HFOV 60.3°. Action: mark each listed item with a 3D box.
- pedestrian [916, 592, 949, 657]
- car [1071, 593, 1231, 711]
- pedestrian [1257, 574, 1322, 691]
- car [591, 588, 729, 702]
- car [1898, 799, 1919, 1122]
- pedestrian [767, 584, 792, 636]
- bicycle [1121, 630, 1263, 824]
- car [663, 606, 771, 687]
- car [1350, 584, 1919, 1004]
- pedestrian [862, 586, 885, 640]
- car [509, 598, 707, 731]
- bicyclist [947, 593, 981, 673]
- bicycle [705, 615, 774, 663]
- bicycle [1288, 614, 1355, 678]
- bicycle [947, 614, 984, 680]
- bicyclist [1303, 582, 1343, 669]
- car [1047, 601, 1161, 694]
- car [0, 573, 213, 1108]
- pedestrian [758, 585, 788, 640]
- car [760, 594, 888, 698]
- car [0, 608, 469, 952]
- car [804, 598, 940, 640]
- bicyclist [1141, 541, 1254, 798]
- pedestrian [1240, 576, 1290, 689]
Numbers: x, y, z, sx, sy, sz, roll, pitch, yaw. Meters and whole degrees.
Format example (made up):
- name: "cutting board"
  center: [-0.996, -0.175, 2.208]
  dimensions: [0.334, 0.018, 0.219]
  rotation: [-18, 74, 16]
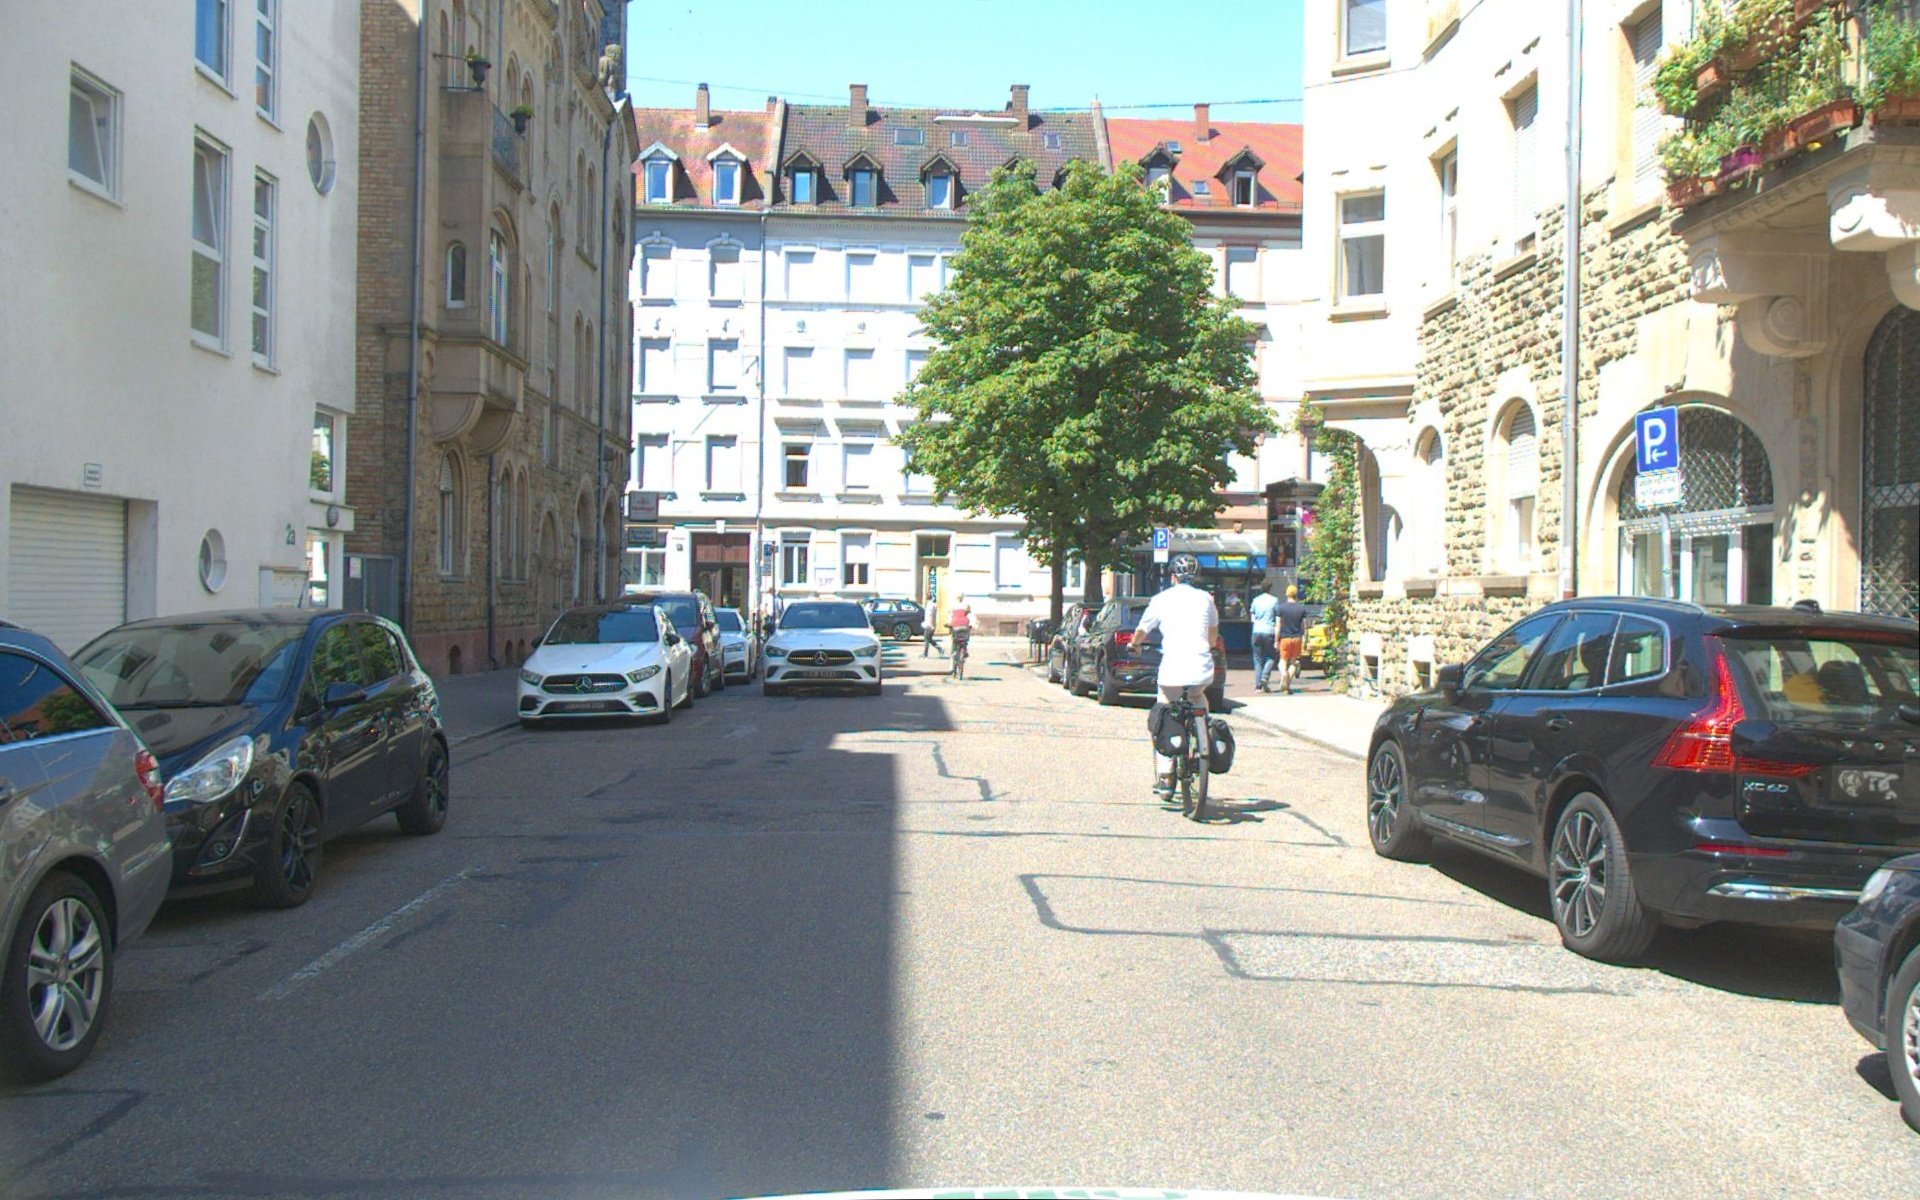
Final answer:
- name: "pedestrian"
  center: [-0.734, 0.633, 43.559]
  dimensions: [0.840, 1.701, 0.774]
  rotation: [0, -1, -2]
- name: "car"
  center: [2.913, 0.755, 26.077]
  dimensions: [1.701, 1.624, 4.344]
  rotation: [3, 0, -4]
- name: "pedestrian"
  center: [5.482, 0.544, 27.501]
  dimensions: [0.868, 1.913, 0.597]
  rotation: [1, -1, -22]
- name: "car"
  center: [-4.612, 0.658, 25.923]
  dimensions: [1.639, 1.610, 4.049]
  rotation: [-1, 0, -4]
- name: "car"
  center: [3.760, 0.903, 3.102]
  dimensions: [1.483, 1.423, 3.969]
  rotation: [5, 0, -4]
- name: "pedestrian"
  center: [-6.486, 0.369, 59.353]
  dimensions: [0.884, 1.846, 0.959]
  rotation: [0, -1, -7]
- name: "bicycle"
  center: [1.687, 0.879, 12.398]
  dimensions: [0.638, 1.250, 2.441]
  rotation: [2, 0, -1]
- name: "car"
  center: [-4.531, 0.824, 31.353]
  dimensions: [1.668, 1.376, 4.511]
  rotation: [-1, 0, -4]
- name: "car"
  center: [3.642, 0.785, 8.765]
  dimensions: [1.797, 1.594, 4.602]
  rotation: [3, 0, -3]
- name: "pedestrian"
  center: [-3.033, 0.452, 57.796]
  dimensions: [0.712, 1.886, 0.683]
  rotation: [0, -1, -12]
- name: "car"
  center: [-4.381, 0.752, 21.173]
  dimensions: [1.741, 1.485, 4.277]
  rotation: [-1, 0, -2]
- name: "bicyclist"
  center: [0.069, 0.650, 32.696]
  dimensions: [0.657, 1.560, 0.609]
  rotation: [0, -1, -1]
- name: "bicycle"
  center: [-5.051, 0.895, 37.938]
  dimensions: [1.496, 1.025, 0.366]
  rotation: [3, -1, -6]
- name: "bicycle"
  center: [7.143, 0.884, 32.586]
  dimensions: [0.778, 1.189, 2.577]
  rotation: [0, 0, 24]
- name: "bicycle"
  center: [0.089, 0.909, 32.767]
  dimensions: [0.638, 1.230, 2.441]
  rotation: [2, 0, -1]
- name: "bicyclist"
  center: [7.156, 0.497, 32.591]
  dimensions: [0.664, 1.676, 0.662]
  rotation: [0, -1, 21]
- name: "car"
  center: [2.674, 0.854, 31.569]
  dimensions: [1.629, 1.567, 4.176]
  rotation: [3, 0, -2]
- name: "car"
  center: [-3.567, 0.710, 3.894]
  dimensions: [1.623, 1.545, 4.669]
  rotation: [-1, 0, -2]
- name: "pedestrian"
  center: [-6.573, 0.427, 58.246]
  dimensions: [0.832, 1.922, 0.936]
  rotation: [0, -1, 8]
- name: "car"
  center: [-2.086, 0.681, 26.405]
  dimensions: [1.804, 1.486, 4.360]
  rotation: [-1, 0, -2]
- name: "car"
  center: [-4.078, 0.822, 9.374]
  dimensions: [1.535, 1.518, 3.892]
  rotation: [-1, 0, -2]
- name: "car"
  center: [-3.110, 0.677, 59.091]
  dimensions: [4.762, 1.462, 1.999]
  rotation: [0, 0, -3]
- name: "bicyclist"
  center: [1.715, 0.494, 12.018]
  dimensions: [0.657, 1.791, 0.609]
  rotation: [3, -1, -1]
- name: "pedestrian"
  center: [5.169, 0.551, 28.058]
  dimensions: [0.642, 1.901, 0.517]
  rotation: [1, -1, -21]
